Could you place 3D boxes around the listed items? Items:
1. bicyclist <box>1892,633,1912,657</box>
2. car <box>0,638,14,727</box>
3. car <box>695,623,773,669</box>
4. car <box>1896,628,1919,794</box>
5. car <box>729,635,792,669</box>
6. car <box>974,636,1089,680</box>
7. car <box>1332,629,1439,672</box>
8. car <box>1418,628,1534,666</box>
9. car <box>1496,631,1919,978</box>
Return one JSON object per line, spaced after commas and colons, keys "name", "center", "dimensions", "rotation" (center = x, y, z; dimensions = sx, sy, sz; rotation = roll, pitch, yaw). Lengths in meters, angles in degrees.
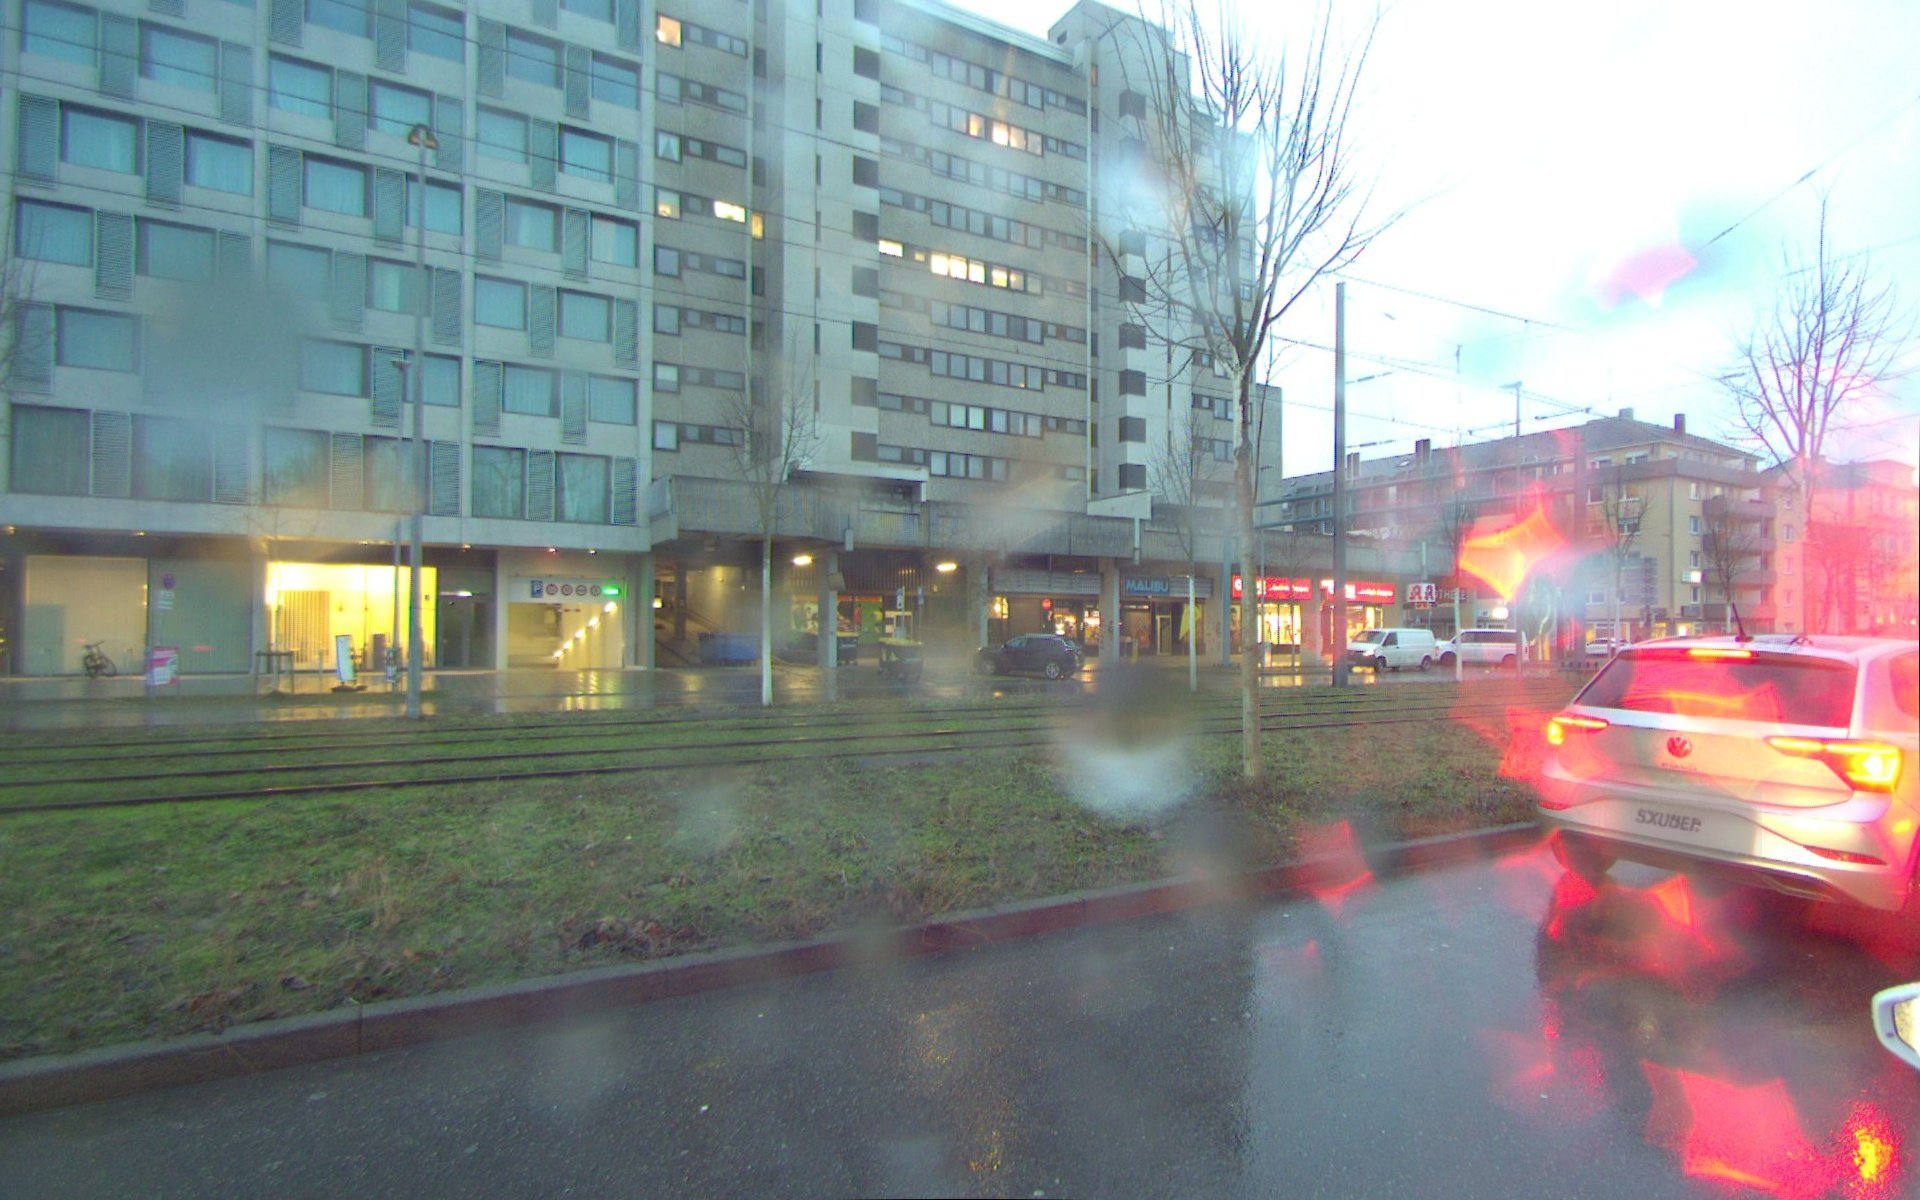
{"name": "bicyclist", "center": [64.272, 3.065, 68.530], "dimensions": [0.775, 1.600, 0.637], "rotation": [1, 0, 22]}
{"name": "car", "center": [-19.676, 1.492, 17.319], "dimensions": [4.527, 1.655, 1.887], "rotation": [1, -2, -30]}
{"name": "car", "center": [-9.095, 1.794, 40.173], "dimensions": [1.709, 1.718, 4.336], "rotation": [1, -2, -32]}
{"name": "car", "center": [10.585, 1.018, 9.170], "dimensions": [4.562, 1.424, 1.837], "rotation": [2, -1, -31]}
{"name": "car", "center": [-8.729, 2.235, 43.763], "dimensions": [1.580, 1.377, 3.411], "rotation": [1, -2, -32]}
{"name": "car", "center": [2.727, 2.180, 38.481], "dimensions": [3.925, 1.405, 1.935], "rotation": [2, 0, 25]}
{"name": "car", "center": [20.019, 2.329, 47.202], "dimensions": [5.101, 1.937, 1.985], "rotation": [1, -2, -30]}
{"name": "car", "center": [27.080, 2.430, 52.895], "dimensions": [5.059, 1.937, 2.001], "rotation": [0, -2, 15]}
{"name": "car", "center": [5.157, 0.920, 5.946], "dimensions": [3.936, 1.389, 1.753], "rotation": [2, -1, -31]}
